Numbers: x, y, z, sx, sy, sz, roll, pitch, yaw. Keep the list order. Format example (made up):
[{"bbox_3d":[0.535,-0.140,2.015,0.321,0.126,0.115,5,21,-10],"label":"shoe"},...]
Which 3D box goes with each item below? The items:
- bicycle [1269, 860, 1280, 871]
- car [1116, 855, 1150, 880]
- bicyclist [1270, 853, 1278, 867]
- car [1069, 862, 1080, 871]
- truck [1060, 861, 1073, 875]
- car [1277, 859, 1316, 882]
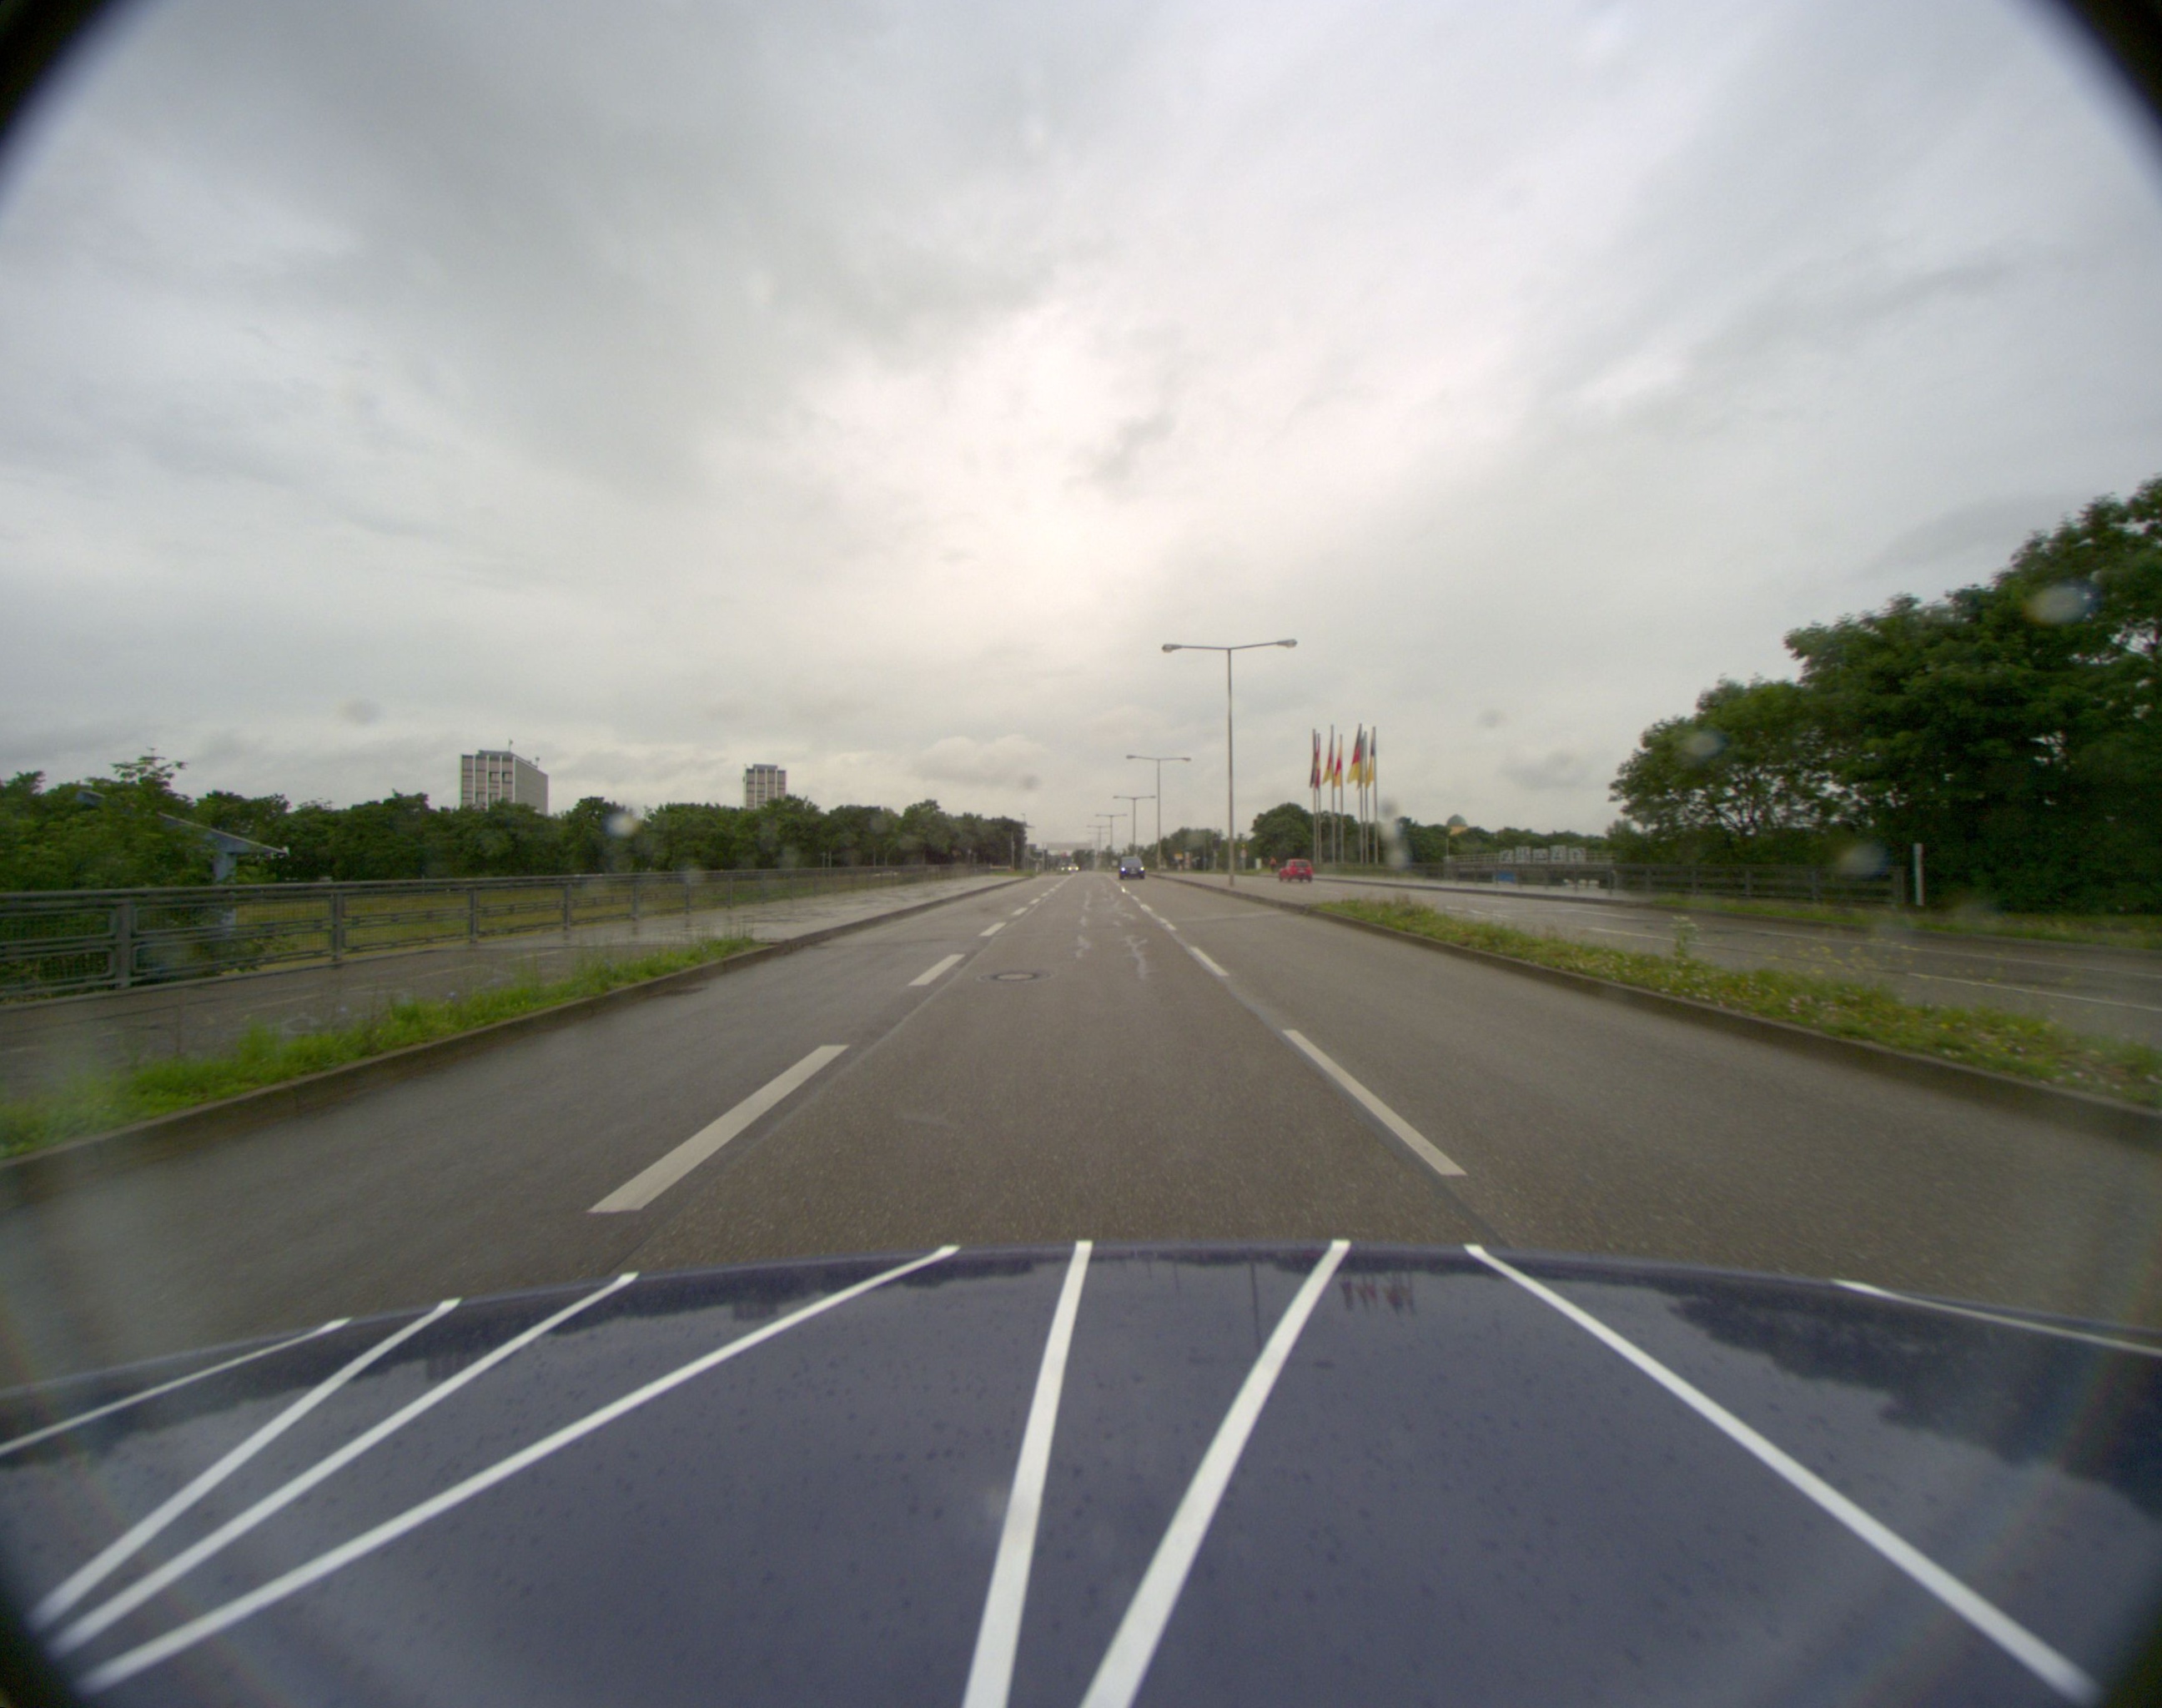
[{"bbox_3d":[20.665,1.225,81.255,0.611,1.027,2.001,-2,0,0],"label":"bicycle"},{"bbox_3d":[3.929,0.989,58.259,1.851,1.740,4.816,-3,0,-4],"label":"car"},{"bbox_3d":[20.646,0.663,81.249,0.621,1.491,1.003,-2,0,0],"label":"bicyclist"},{"bbox_3d":[-1.339,2.437,145.305,1.999,1.700,3.999,-1,0,-2],"label":"car"},{"bbox_3d":[-3.400,3.270,178.484,2.860,3.196,8.096,-1,0,-1],"label":"truck"},{"bbox_3d":[14.842,1.120,52.405,1.665,1.440,3.557,1,0,0],"label":"car"}]
